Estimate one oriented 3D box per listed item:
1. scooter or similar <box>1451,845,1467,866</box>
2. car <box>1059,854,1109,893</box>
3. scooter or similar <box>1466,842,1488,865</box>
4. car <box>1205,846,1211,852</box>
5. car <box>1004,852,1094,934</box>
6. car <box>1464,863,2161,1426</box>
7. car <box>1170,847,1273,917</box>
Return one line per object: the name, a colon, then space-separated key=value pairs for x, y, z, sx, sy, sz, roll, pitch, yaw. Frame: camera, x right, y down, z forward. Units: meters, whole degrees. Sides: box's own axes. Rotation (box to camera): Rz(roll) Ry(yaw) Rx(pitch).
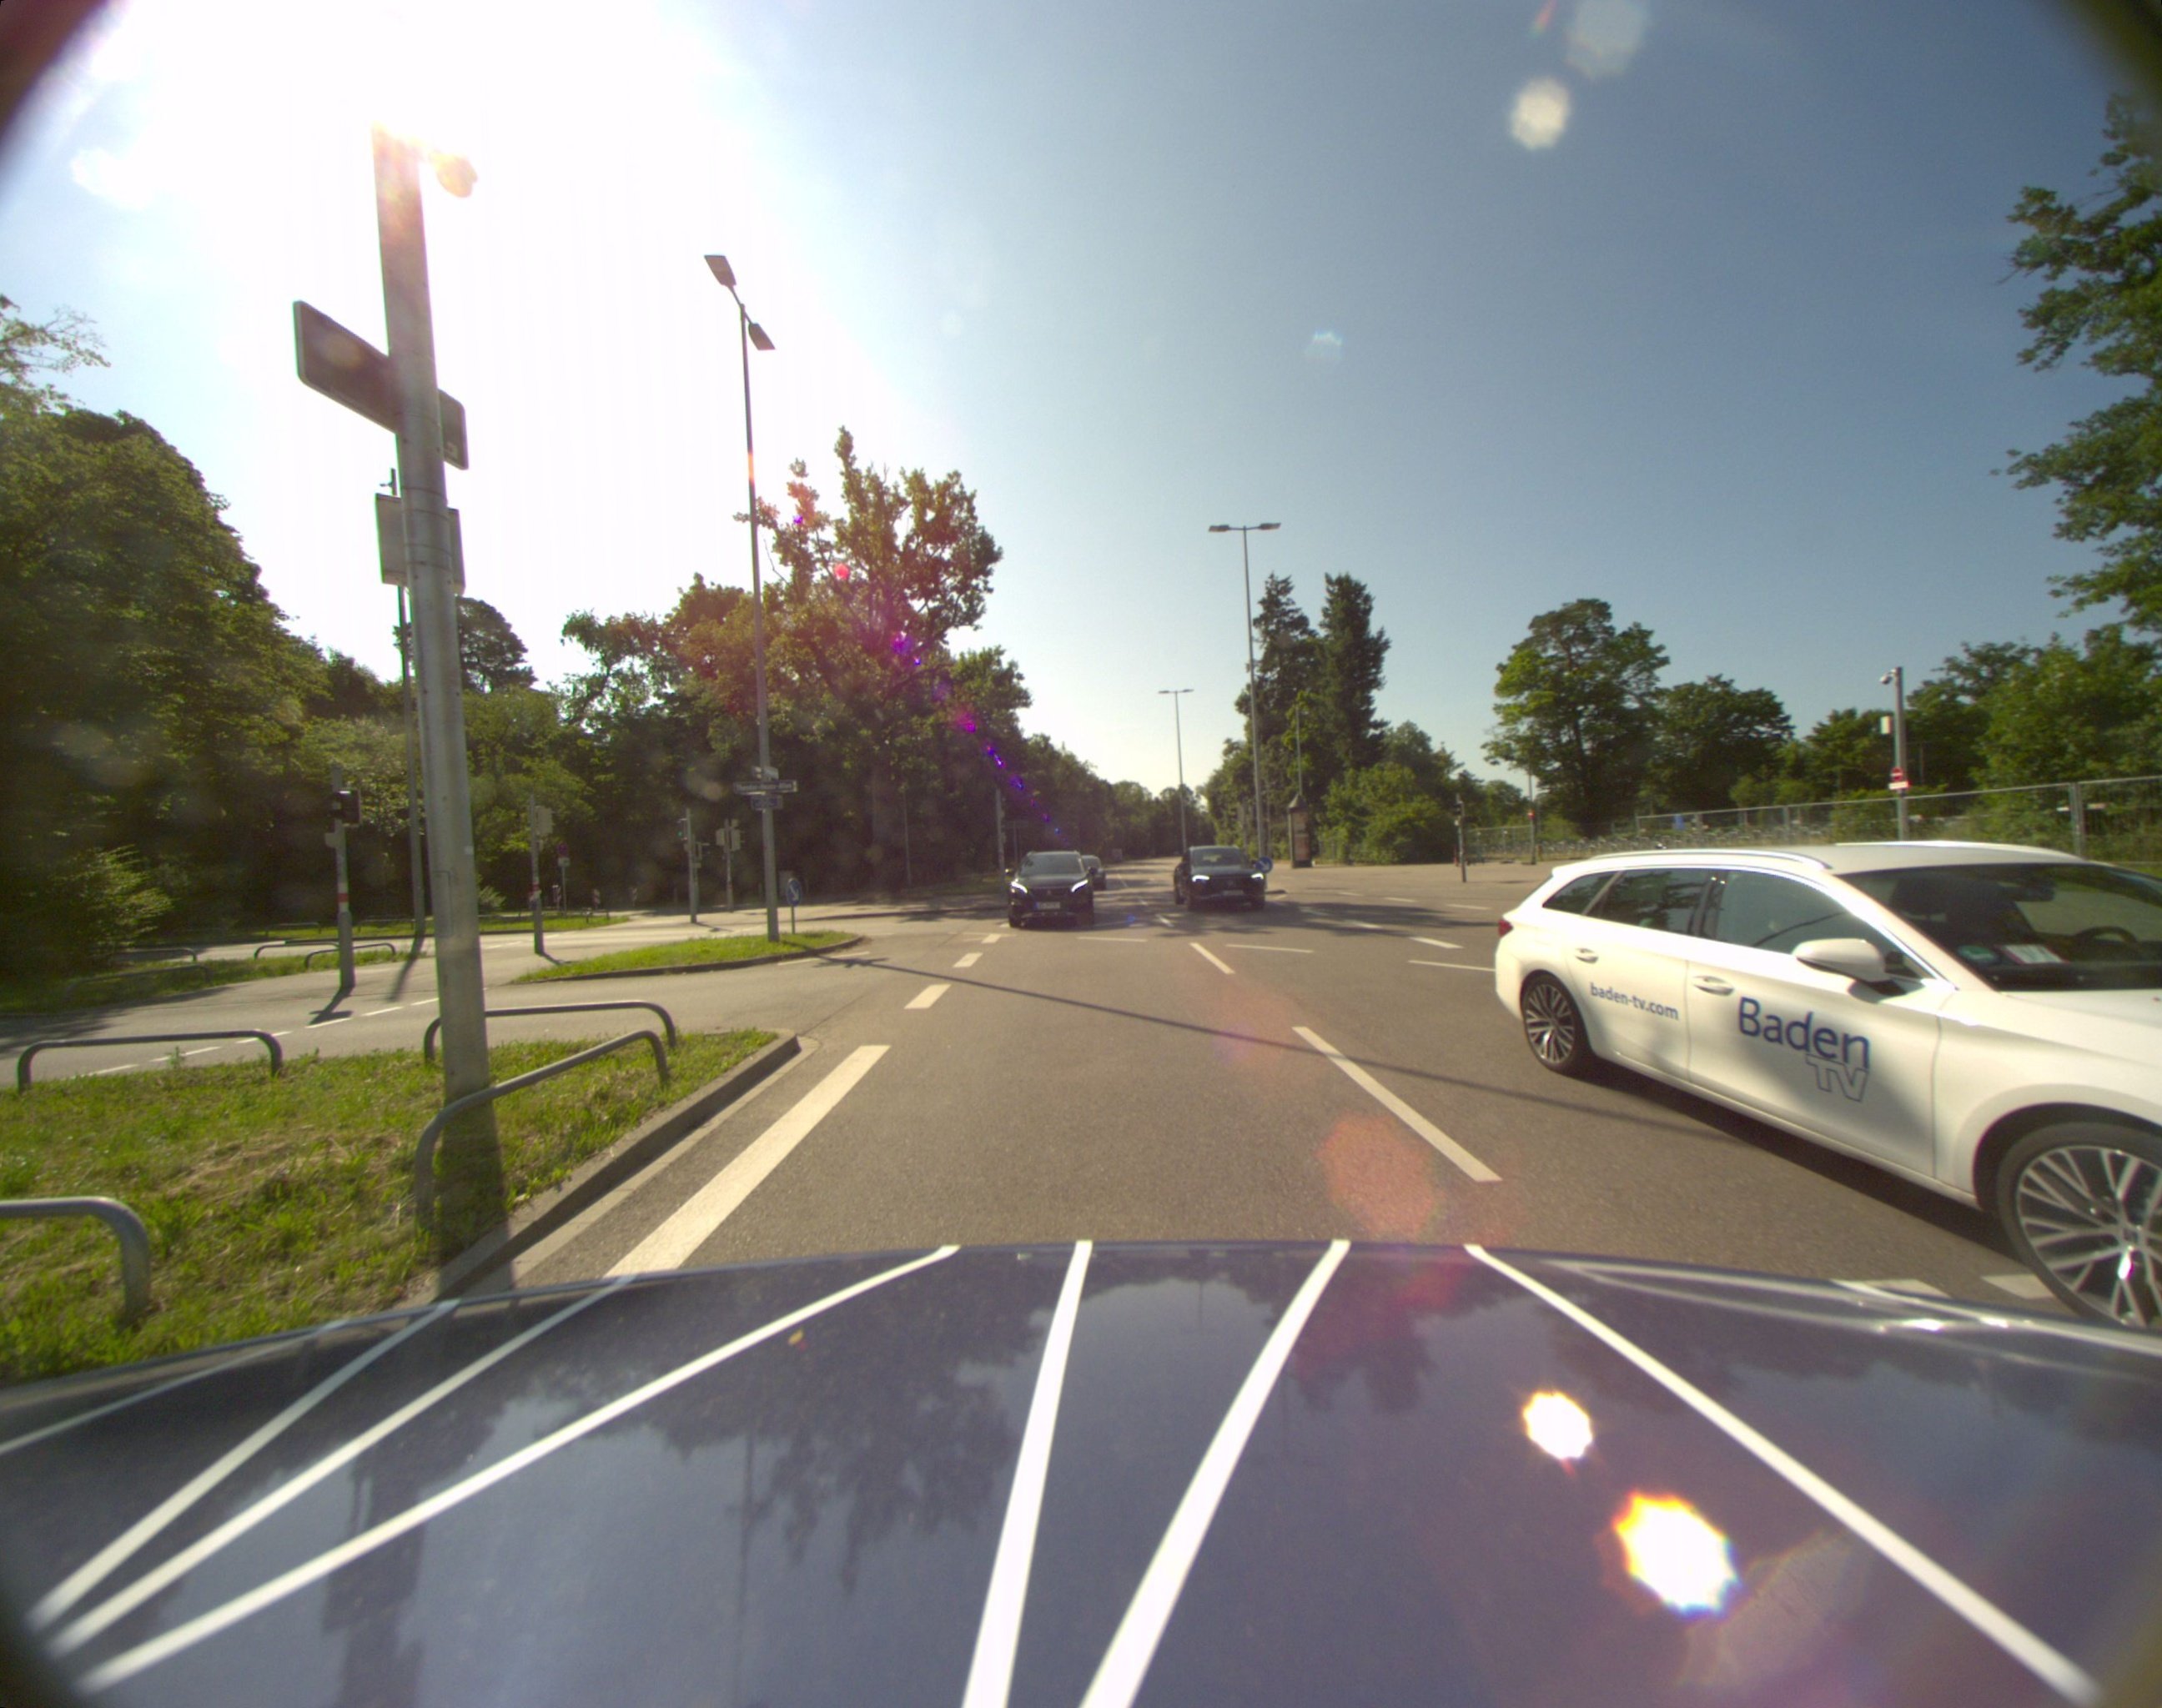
scooter or similar: x=20.728 y=0.064 z=41.672 sx=0.395 sy=1.139 sz=1.197 roll=-3 pitch=0 yaw=6
car: x=0.111 y=0.786 z=32.702 sx=1.933 sy=1.499 sz=4.000 roll=-3 pitch=0 yaw=0
scooter or similar: x=21.686 y=-0.044 z=41.586 sx=1.082 sy=1.215 sz=0.395 roll=-3 pitch=1 yaw=-23
car: x=43.754 y=-1.650 z=261.597 sx=1.875 sy=1.849 sz=4.003 roll=-3 pitch=0 yaw=12
car: x=-0.619 y=0.799 z=17.590 sx=1.702 sy=1.581 sz=4.319 roll=-3 pitch=0 yaw=1
car: x=3.772 y=0.805 z=3.427 sx=1.729 sy=1.418 sz=4.720 roll=-2 pitch=0 yaw=1
car: x=3.514 y=0.630 z=19.809 sx=1.809 sy=1.587 sz=4.272 roll=-1 pitch=1 yaw=-1
